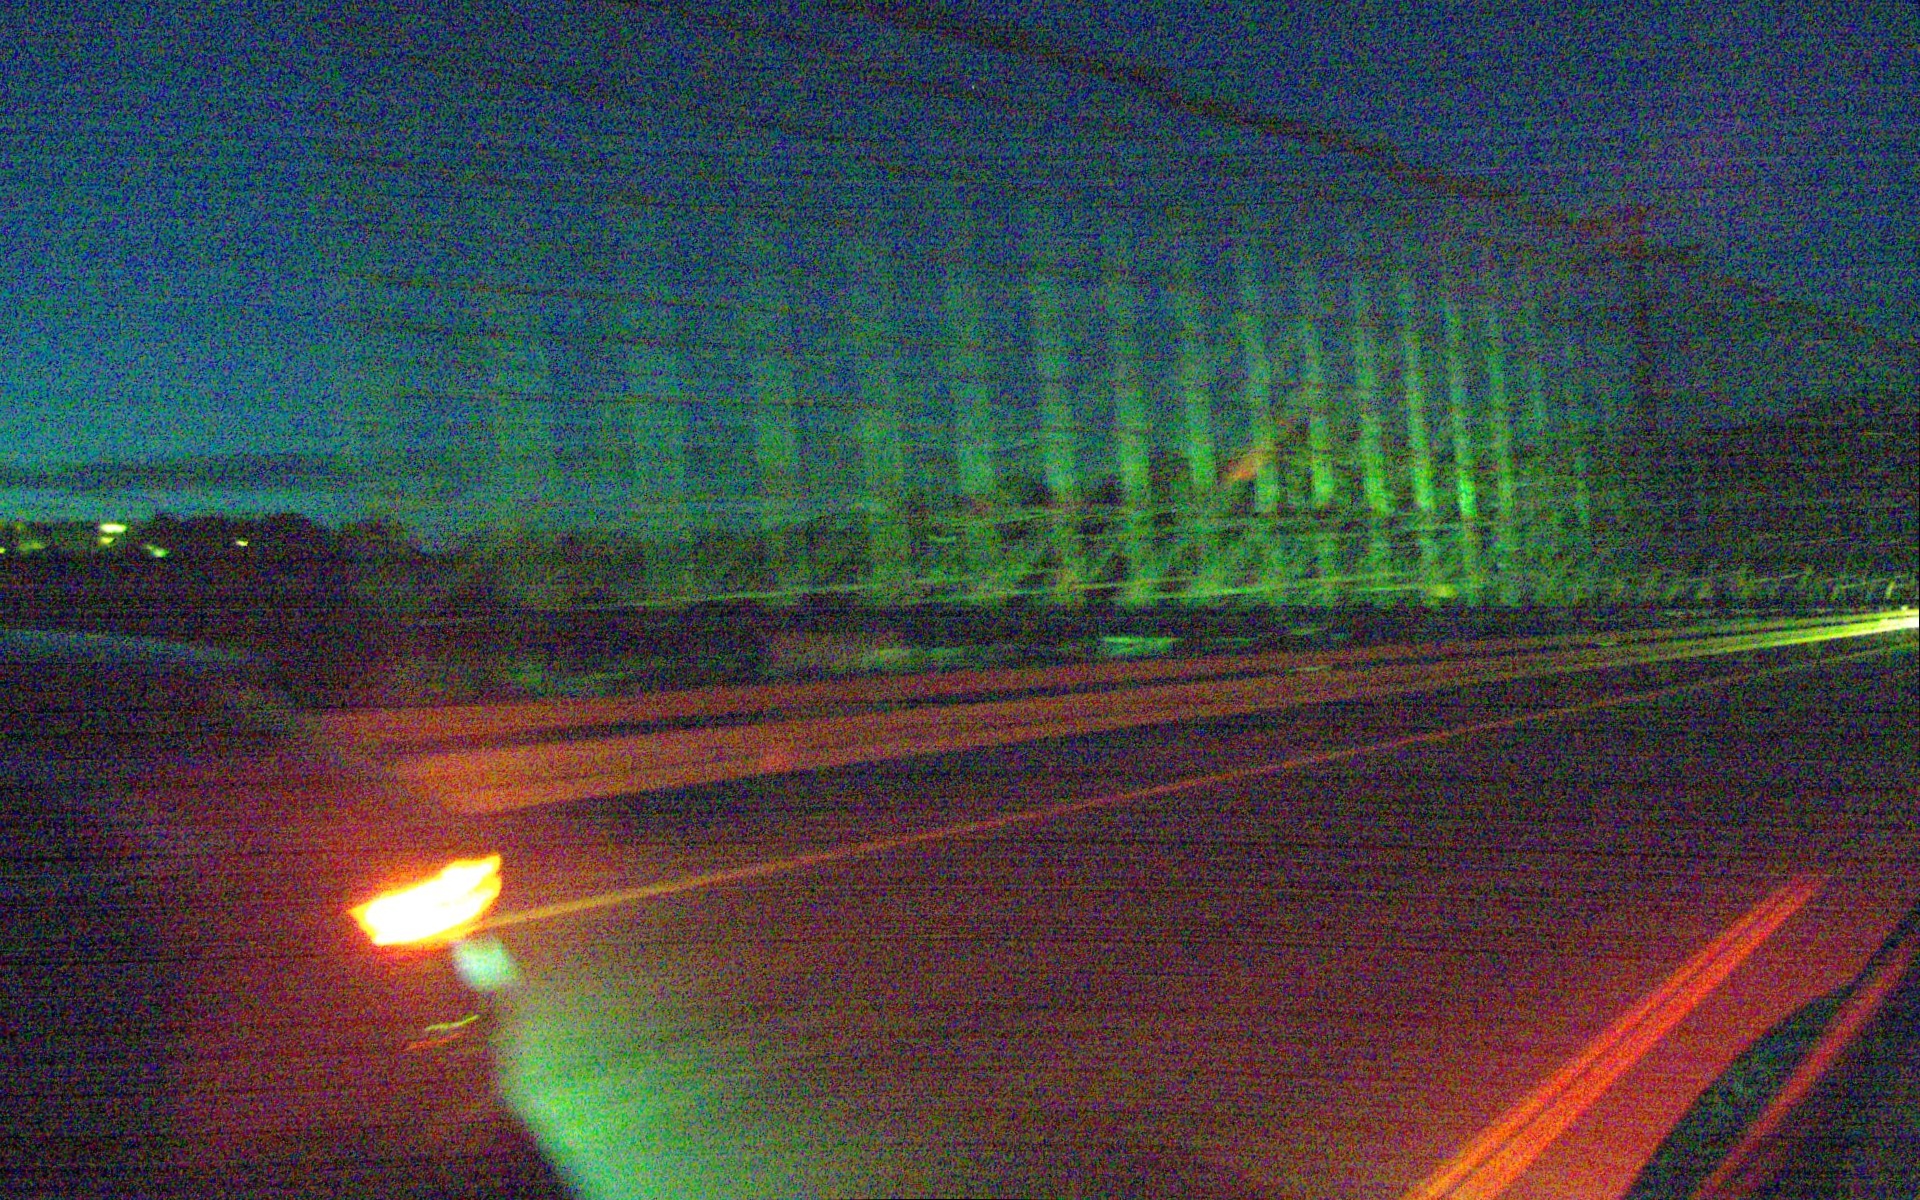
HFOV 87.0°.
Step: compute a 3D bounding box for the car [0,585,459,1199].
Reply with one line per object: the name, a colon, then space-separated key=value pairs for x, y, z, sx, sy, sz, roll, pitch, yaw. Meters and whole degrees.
car: x=-3.293 y=0.707 z=0.932 sx=4.789 sy=1.444 sz=1.811 roll=0 pitch=1 yaw=-41
